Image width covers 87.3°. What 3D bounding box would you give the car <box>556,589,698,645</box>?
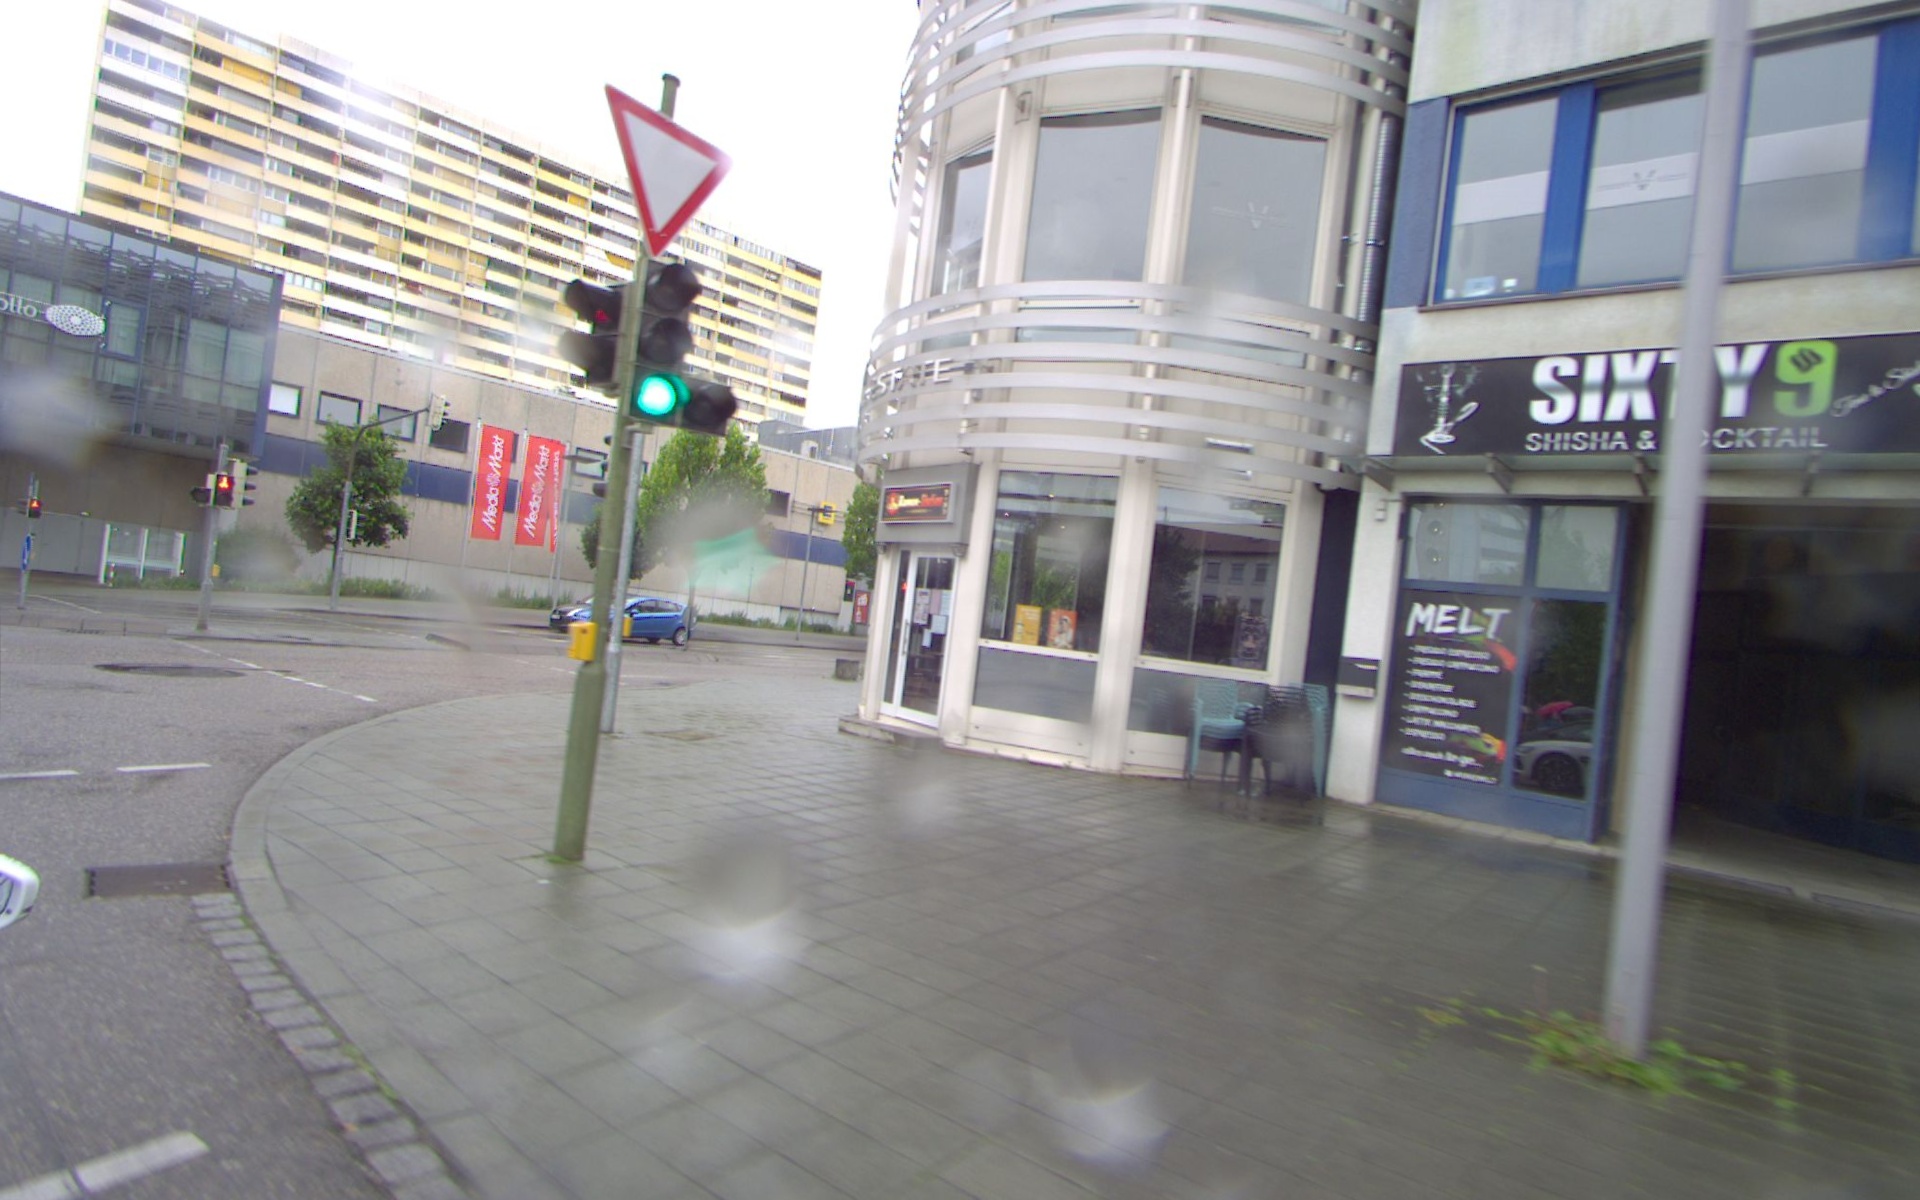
[{"bbox_3d":[-10.308,0.554,31.356,1.655,1.414,3.840,5,-1,38],"label":"car"}]

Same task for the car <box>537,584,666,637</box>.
[{"bbox_3d":[-12.059,0.380,33.977,1.719,1.411,3.680,5,-1,40],"label":"car"}]
